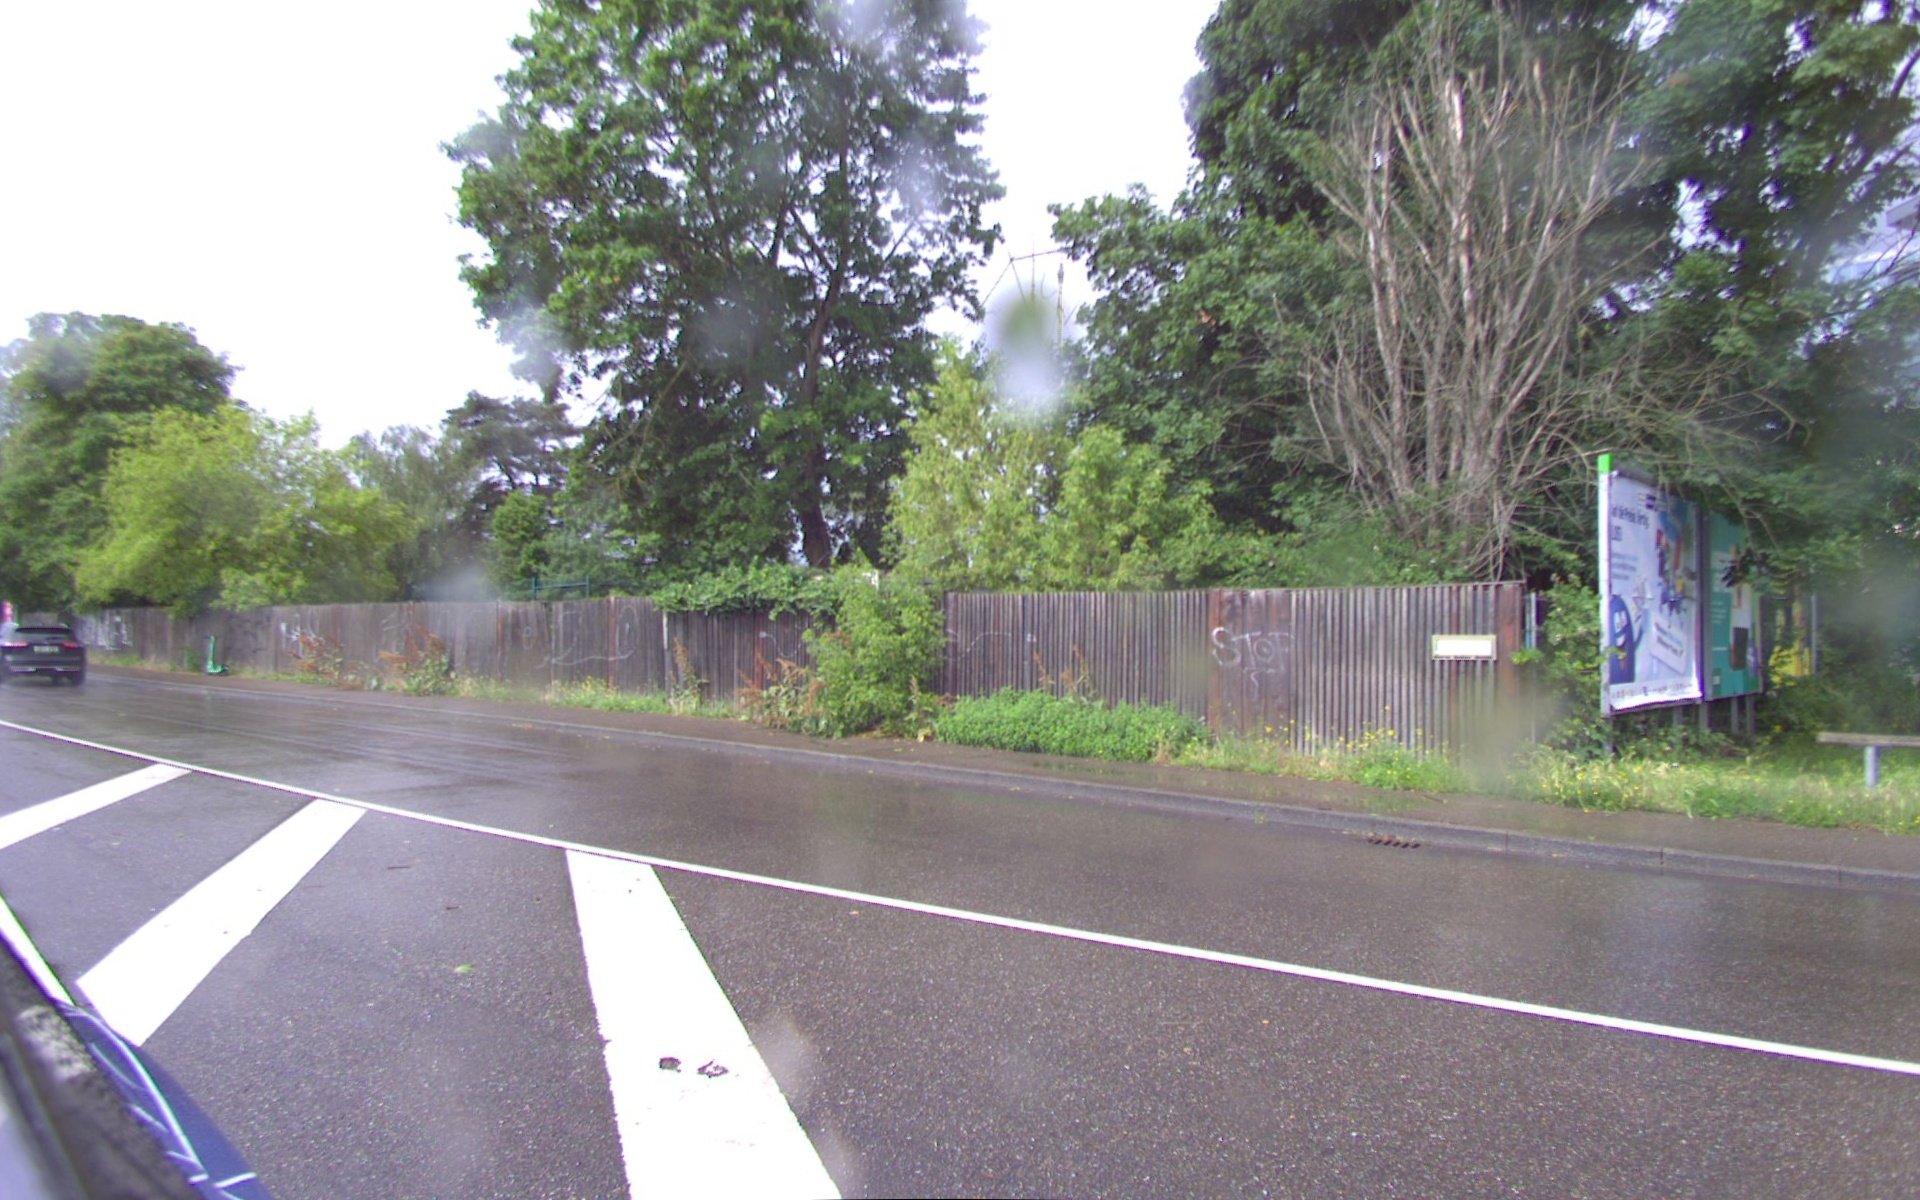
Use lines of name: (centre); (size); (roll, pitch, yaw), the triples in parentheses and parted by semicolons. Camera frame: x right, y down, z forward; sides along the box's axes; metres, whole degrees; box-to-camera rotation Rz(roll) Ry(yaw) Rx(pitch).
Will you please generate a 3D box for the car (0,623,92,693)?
car: (-24.829, 1.516, 26.882); (3.993, 1.722, 1.833); (-2, -4, 37)
